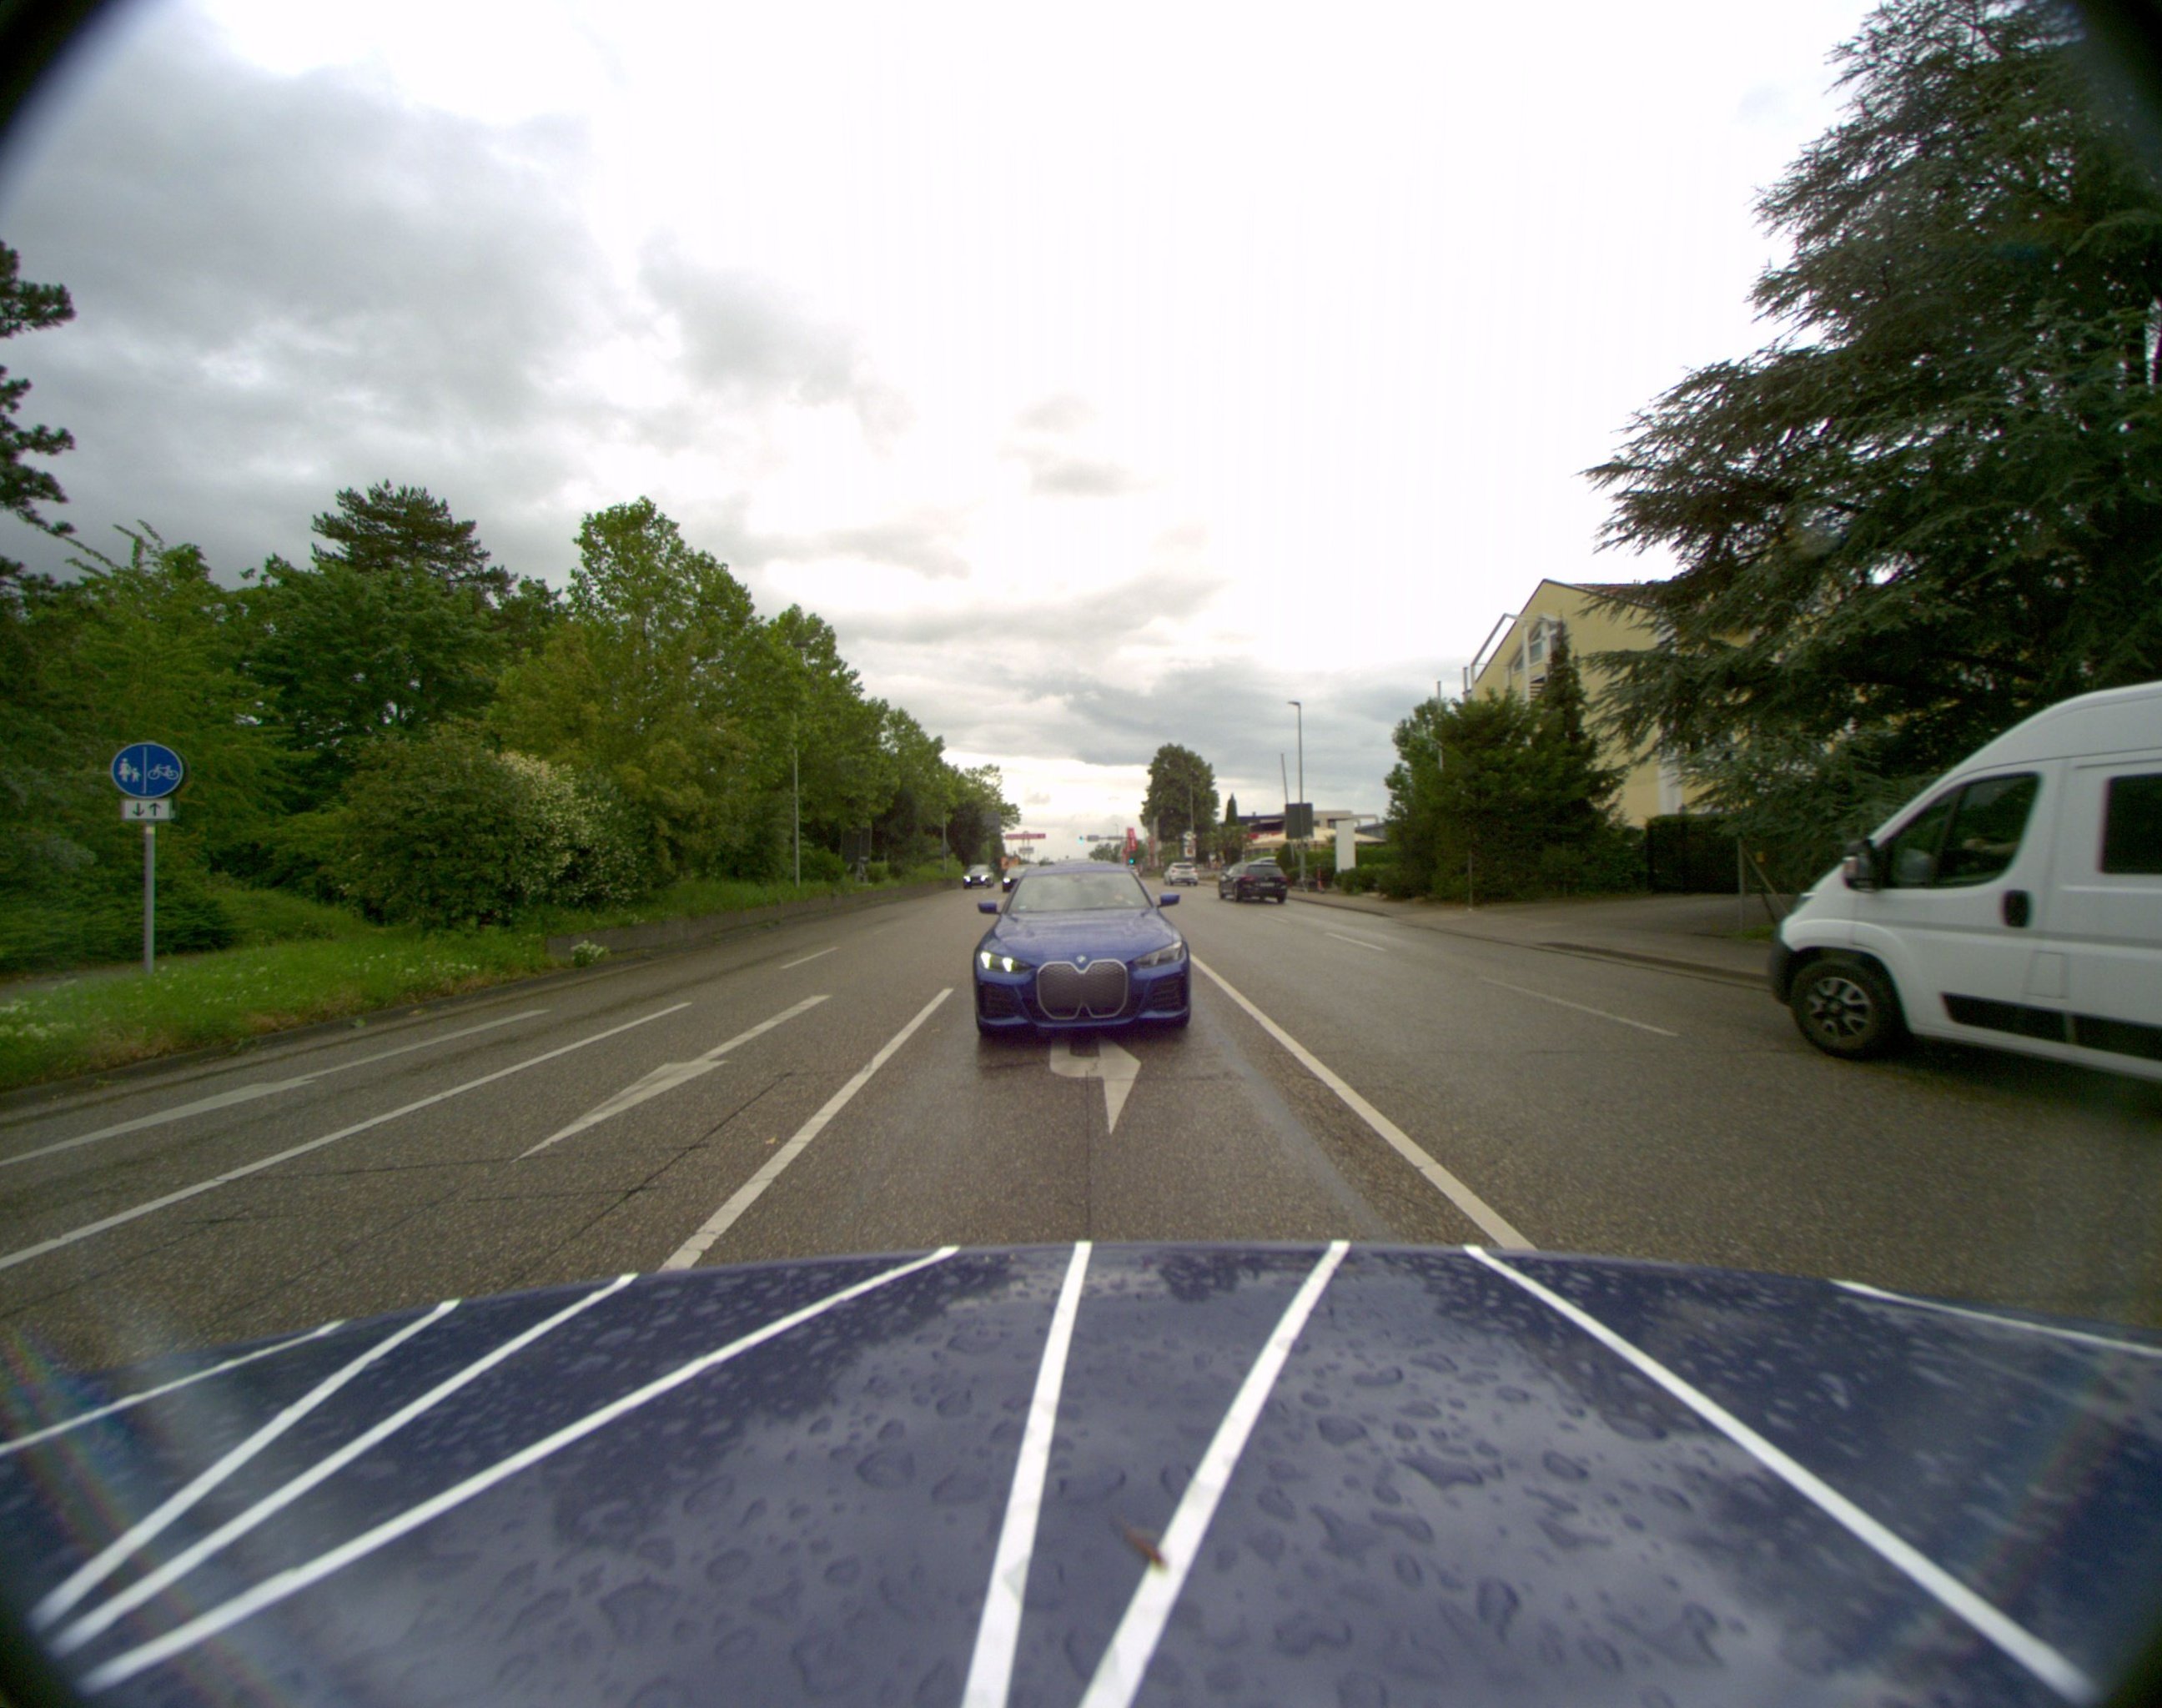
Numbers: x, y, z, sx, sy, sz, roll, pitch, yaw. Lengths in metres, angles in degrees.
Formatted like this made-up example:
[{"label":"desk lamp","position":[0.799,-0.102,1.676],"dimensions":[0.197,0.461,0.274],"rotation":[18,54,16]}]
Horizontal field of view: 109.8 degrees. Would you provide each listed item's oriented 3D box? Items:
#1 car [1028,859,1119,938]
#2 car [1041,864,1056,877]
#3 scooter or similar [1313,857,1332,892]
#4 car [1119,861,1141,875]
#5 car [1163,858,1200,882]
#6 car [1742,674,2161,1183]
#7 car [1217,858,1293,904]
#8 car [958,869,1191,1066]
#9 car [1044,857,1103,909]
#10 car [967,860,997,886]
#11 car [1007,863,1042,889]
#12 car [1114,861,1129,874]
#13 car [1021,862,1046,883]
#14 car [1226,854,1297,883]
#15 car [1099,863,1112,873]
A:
[{"label":"car","position":[-0.133,0.913,17.460],"dimensions":[1.807,1.543,4.223],"rotation":[-1,0,0]},{"label":"car","position":[-4.395,2.189,101.900],"dimensions":[1.828,1.612,3.841],"rotation":[-1,1,0]},{"label":"scooter or similar","position":[10.051,0.840,31.617],"dimensions":[0.505,1.398,1.882],"rotation":[-1,0,11]},{"label":"car","position":[5.386,1.526,84.522],"dimensions":[1.973,1.446,4.307],"rotation":[-1,0,-3]},{"label":"car","position":[6.467,1.011,49.158],"dimensions":[1.751,1.389,3.801],"rotation":[-1,0,-2]},{"label":"car","position":[6.488,0.353,3.220],"dimensions":[2.303,2.513,5.773],"rotation":[-1,0,-1]},{"label":"car","position":[6.370,0.928,28.351],"dimensions":[1.780,1.493,4.471],"rotation":[-1,0,0]},{"label":"car","position":[-0.053,0.936,8.100],"dimensions":[1.803,1.399,4.272],"rotation":[-1,0,0]},{"label":"car","position":[-0.225,0.924,25.719],"dimensions":[1.807,1.543,4.000],"rotation":[-1,0,0]},{"label":"car","position":[-7.014,1.329,54.141],"dimensions":[1.705,1.612,3.841],"rotation":[-3,1,-2]},{"label":"car","position":[-3.242,1.237,44.597],"dimensions":[1.795,1.450,4.720],"rotation":[0,-1,-1]},{"label":"car","position":[5.328,1.818,100.067],"dimensions":[1.704,1.590,3.549],"rotation":[0,1,-1]},{"label":"car","position":[-4.211,1.611,67.696],"dimensions":[1.979,1.613,3.841],"rotation":[-3,1,0]},{"label":"car","position":[10.740,0.870,45.446],"dimensions":[3.930,1.642,1.719],"rotation":[-1,1,6]},{"label":"car","position":[3.948,2.268,124.755],"dimensions":[1.790,1.451,4.430],"rotation":[-1,0,-3]}]
